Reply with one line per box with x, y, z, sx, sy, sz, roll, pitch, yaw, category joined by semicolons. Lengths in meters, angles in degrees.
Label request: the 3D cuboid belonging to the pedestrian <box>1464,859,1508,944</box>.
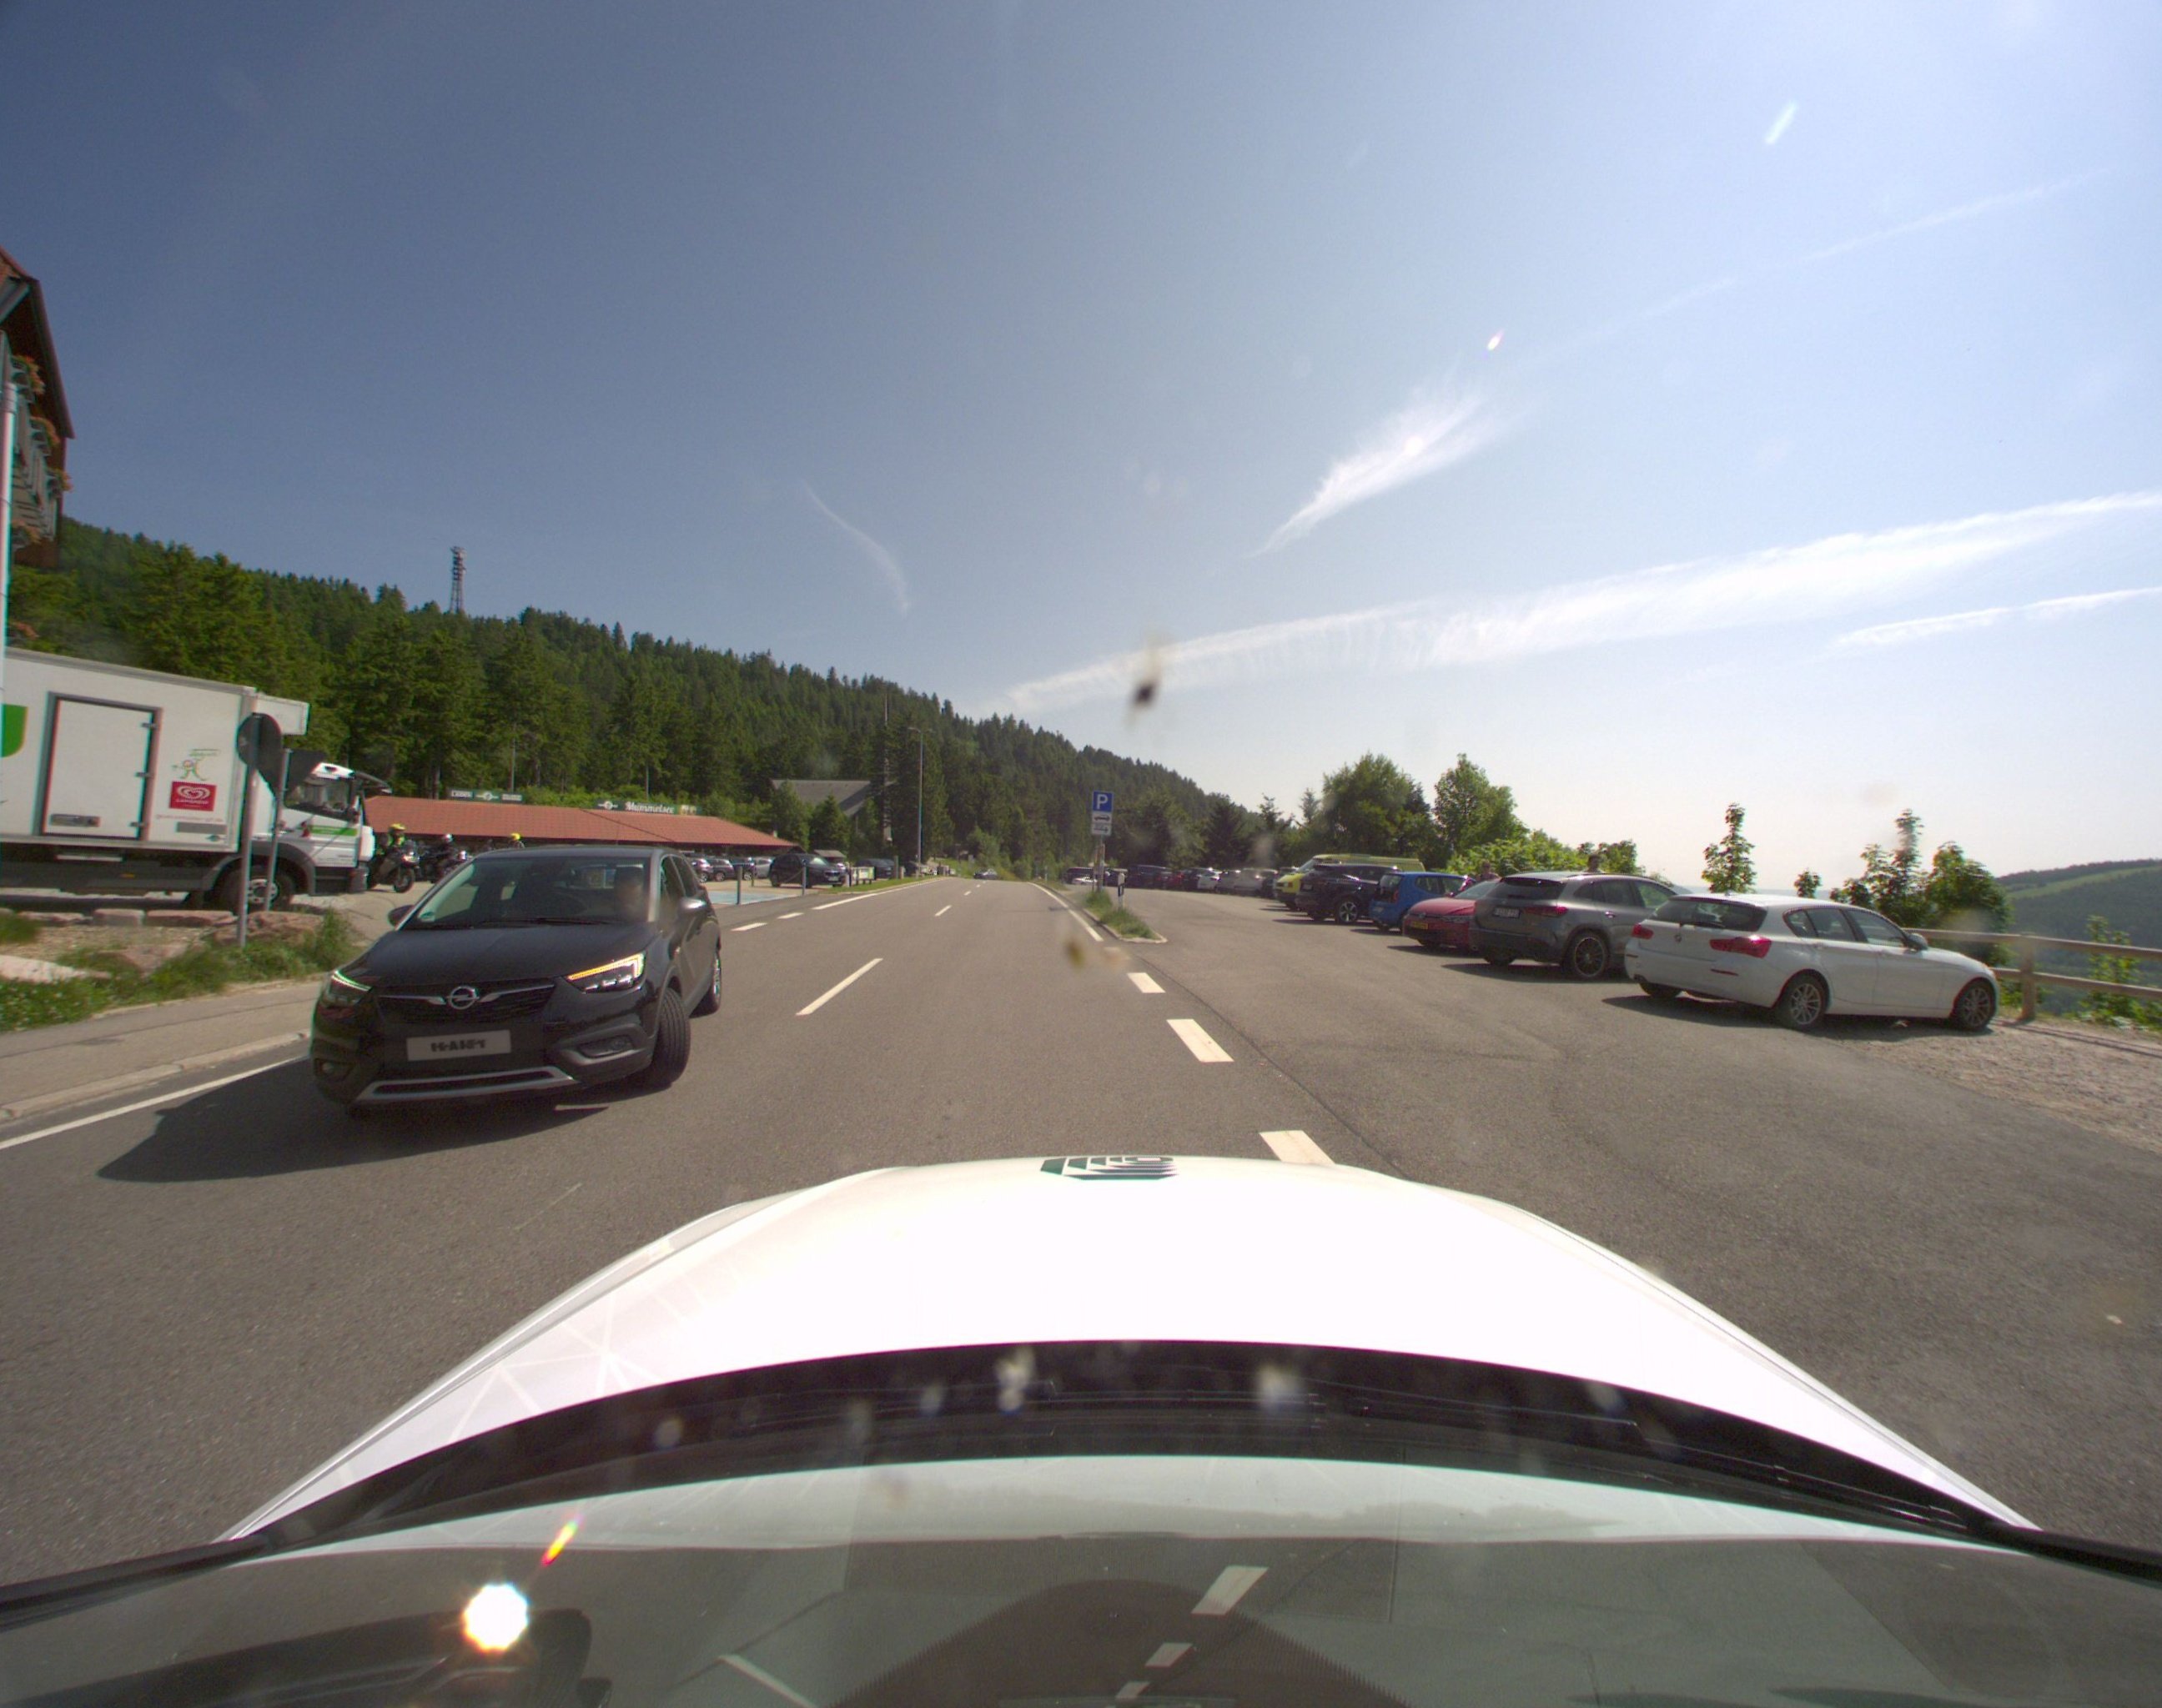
8.421;0.977;16.937;0.504;1.725;0.564;4;-2;-17;pedestrian

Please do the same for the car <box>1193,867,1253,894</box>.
9.502;1.797;54.395;4.020;1.476;1.747;6;-3;-42;car

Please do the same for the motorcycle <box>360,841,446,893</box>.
-16.413;0.300;19.703;2.257;1.177;0.830;1;-1;30;motorcycle

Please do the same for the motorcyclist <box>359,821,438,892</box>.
-16.535;0.060;19.734;1.277;1.675;1.035;1;-1;30;motorcyclist

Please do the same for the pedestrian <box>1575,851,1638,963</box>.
9.274;0.915;14.386;0.606;1.900;0.679;4;-1;2;pedestrian

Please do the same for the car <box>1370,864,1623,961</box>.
7.776;1.079;15.357;3.992;1.510;1.834;3;0;-14;car

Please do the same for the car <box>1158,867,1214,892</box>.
7.755;1.894;60.038;4.020;1.590;1.841;6;-3;-42;car

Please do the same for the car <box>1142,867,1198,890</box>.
6.834;1.901;62.488;4.013;1.415;1.727;5;-2;-32;car

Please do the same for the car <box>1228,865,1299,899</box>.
10.725;1.661;47.728;4.249;1.695;1.841;5;-2;-42;car

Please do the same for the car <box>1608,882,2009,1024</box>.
8.723;1.171;9.844;3.992;1.385;1.649;4;-1;-14;car

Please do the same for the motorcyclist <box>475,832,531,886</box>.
-19.507;0.183;27.491;1.051;1.720;1.255;-1;-4;45;motorcyclist

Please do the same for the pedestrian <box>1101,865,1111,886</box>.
2.206;1.913;71.969;0.573;1.761;0.637;3;-3;31;pedestrian

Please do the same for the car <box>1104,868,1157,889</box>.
4.128;2.071;68.256;4.006;1.443;1.824;5;-2;-26;car

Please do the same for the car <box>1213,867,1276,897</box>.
10.320;1.784;51.254;4.020;1.549;1.799;6;-3;-42;car

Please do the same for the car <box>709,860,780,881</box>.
-22.649;1.111;54.843;4.021;1.371;1.791;1;0;-42;car

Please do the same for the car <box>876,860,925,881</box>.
-14.414;1.309;64.809;4.008;1.568;1.751;0;-2;41;car

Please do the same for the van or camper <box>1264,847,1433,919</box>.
9.102;0.979;27.977;5.078;2.013;1.880;4;0;-3;van or camper

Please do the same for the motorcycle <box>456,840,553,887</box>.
-19.475;0.340;27.568;0.993;1.407;2.458;-1;-4;45;motorcycle

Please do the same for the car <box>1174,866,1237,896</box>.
8.689;1.884;56.445;4.295;1.695;1.967;6;-3;-42;car

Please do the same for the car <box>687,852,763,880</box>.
-22.487;0.739;51.582;4.023;1.704;1.804;1;0;-44;car

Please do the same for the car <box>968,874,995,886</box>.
-13.223;3.424;108.327;1.565;1.429;3.393;0;0;39;car

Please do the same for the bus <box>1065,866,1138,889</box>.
3.719;4.217;148.891;12.775;3.578;2.991;2;0;12;bus

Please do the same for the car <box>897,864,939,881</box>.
-16.741;1.902;83.393;4.156;1.634;1.800;0;-3;35;car

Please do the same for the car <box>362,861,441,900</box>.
-25.238;0.927;30.205;3.949;1.297;1.724;0;0;42;car

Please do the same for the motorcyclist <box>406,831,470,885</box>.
-22.272;0.149;28.221;0.914;1.718;1.460;2;-4;43;motorcyclist

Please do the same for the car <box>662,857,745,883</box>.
-22.373;0.923;48.355;1.694;1.486;4.104;0;0;40;car

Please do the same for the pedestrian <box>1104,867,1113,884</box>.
2.379;1.841;69.851;0.770;1.403;0.669;1;0;2;pedestrian

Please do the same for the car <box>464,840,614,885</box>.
-21.519;0.371;32.498;1.915;1.664;4.573;0;-1;40;car

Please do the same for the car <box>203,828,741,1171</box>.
-3.858;0.692;6.167;1.985;1.616;4.124;-1;0;-18;car

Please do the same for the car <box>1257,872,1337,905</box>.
11.698;1.865;44.028;4.065;1.461;1.875;5;-2;-33;car

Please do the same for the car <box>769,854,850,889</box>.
-12.607;0.768;37.653;4.140;1.540;1.818;0;0;44;car

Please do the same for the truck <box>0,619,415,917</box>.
-15.736;-1.228;11.669;3.031;3.972;8.825;3;-1;34;truck

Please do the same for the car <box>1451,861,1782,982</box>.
8.373;1.033;12.829;4.404;1.568;1.898;4;0;-15;car

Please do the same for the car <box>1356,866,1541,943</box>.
8.606;1.157;19.248;3.573;1.495;1.646;4;0;-4;car

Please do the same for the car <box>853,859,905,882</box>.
-14.303;1.128;57.554;1.793;1.552;3.951;1;-1;-43;car

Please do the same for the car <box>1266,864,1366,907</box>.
10.848;1.448;37.559;4.190;1.650;1.877;5;-2;-24;car

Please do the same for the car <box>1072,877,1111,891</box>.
1.348;3.700;100.359;4.468;1.299;1.571;7;-2;-21;car

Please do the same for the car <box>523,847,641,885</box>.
-21.802;0.518;35.672;1.975;1.546;4.024;0;0;42;car

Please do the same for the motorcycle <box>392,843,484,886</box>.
-22.248;0.368;28.209;0.868;1.257;2.290;2;-4;43;motorcycle

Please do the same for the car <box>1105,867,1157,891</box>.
4.393;2.198;71.428;4.012;1.662;1.980;8;-4;-31;car

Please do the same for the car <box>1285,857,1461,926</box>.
7.774;0.985;21.862;3.986;1.613;1.910;3;-1;-10;car

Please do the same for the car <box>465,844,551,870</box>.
-35.274;0.197;50.199;1.886;1.530;3.906;0;0;38;car

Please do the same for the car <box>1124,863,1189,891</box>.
6.065;1.877;65.343;4.778;1.880;1.951;5;-2;-24;car
